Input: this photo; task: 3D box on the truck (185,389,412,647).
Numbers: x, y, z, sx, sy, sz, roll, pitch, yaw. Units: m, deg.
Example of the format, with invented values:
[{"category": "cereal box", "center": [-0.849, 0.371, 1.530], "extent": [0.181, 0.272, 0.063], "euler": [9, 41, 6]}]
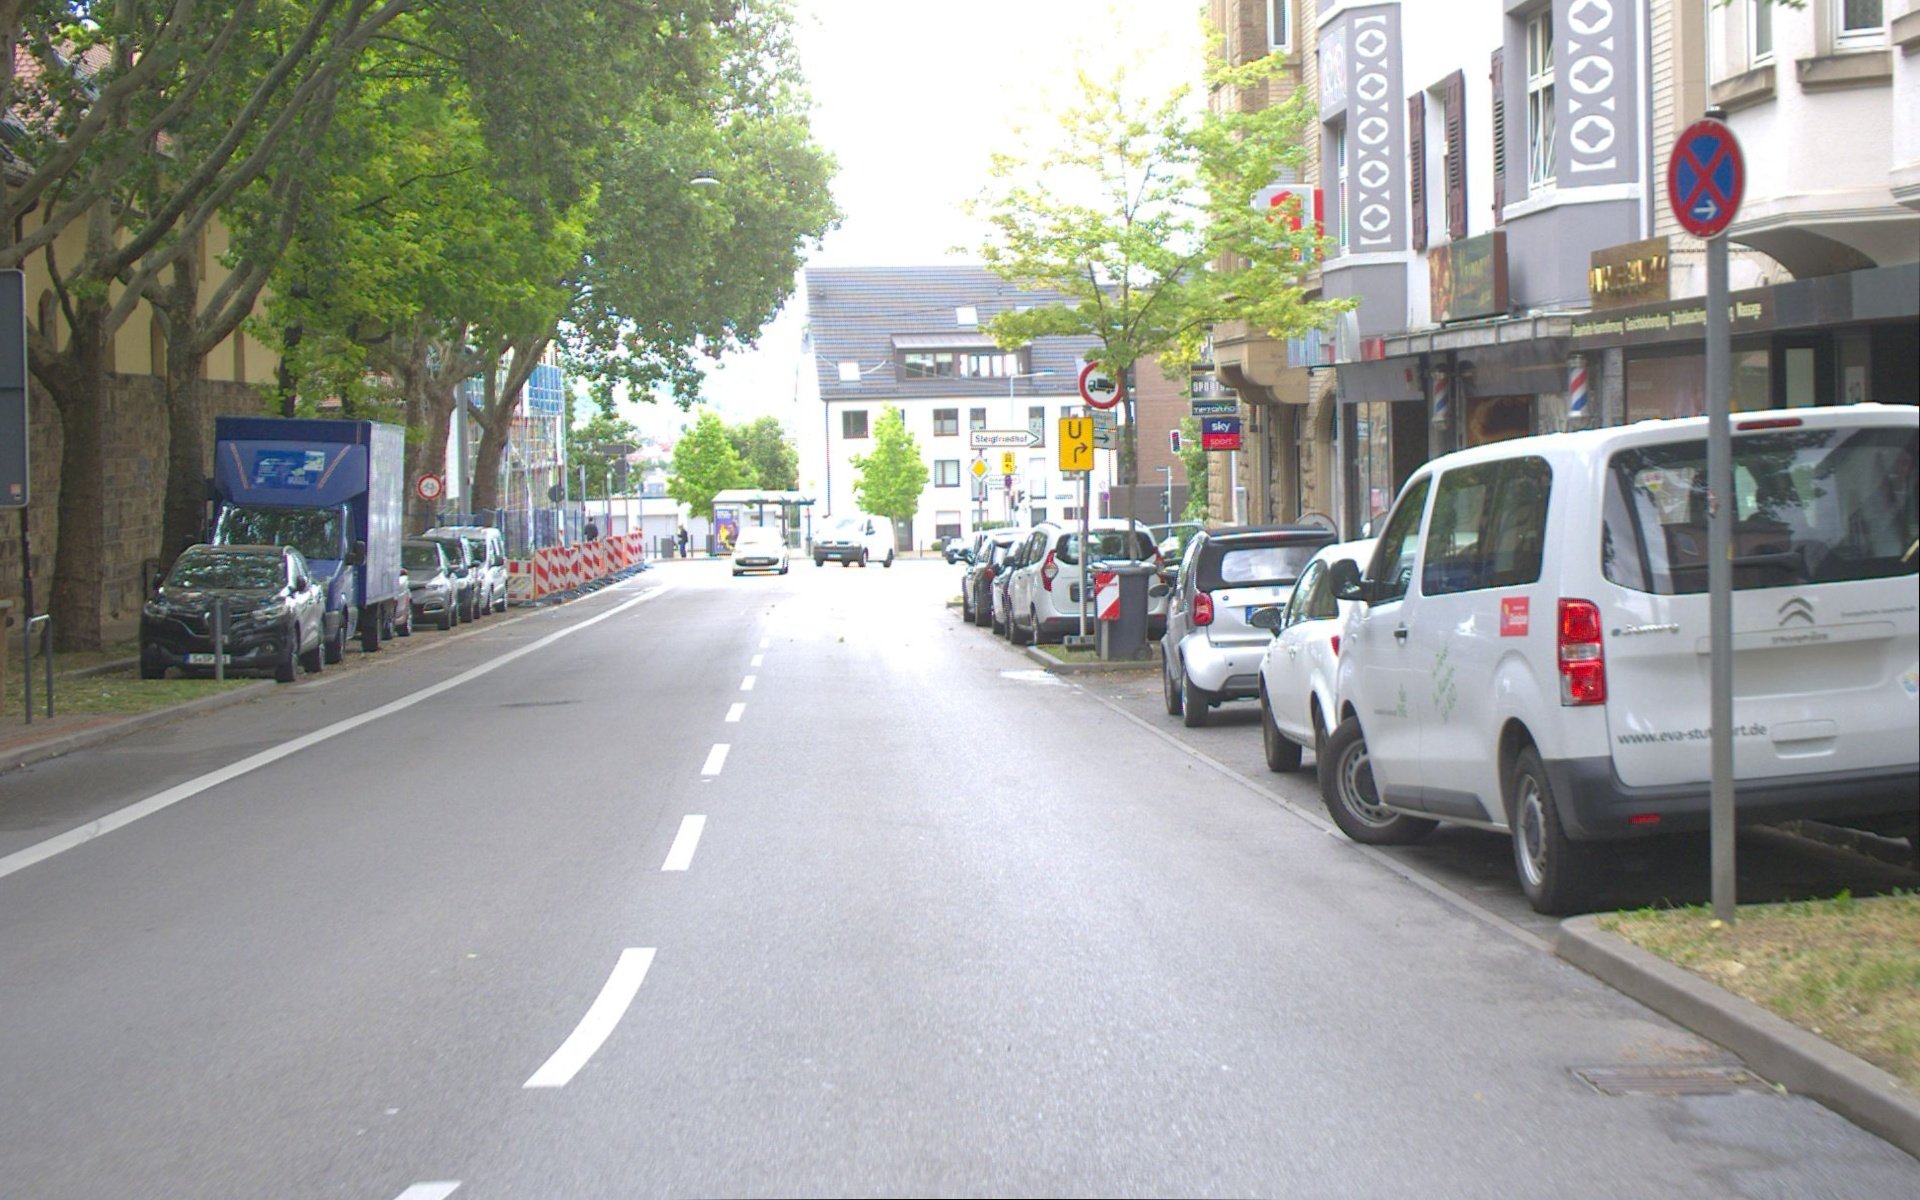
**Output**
[{"category": "truck", "center": [-9.375, -1.162, 49.325], "extent": [2.215, 3.404, 7.248], "euler": [1, 1, -3]}]

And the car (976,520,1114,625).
[{"category": "car", "center": [1.197, -0.430, 50.181], "extent": [1.605, 1.392, 4.277], "euler": [-3, 1, -3]}]

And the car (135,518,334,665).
[{"category": "car", "center": [-8.796, -0.124, 41.984], "extent": [1.731, 1.683, 4.253], "euler": [1, 1, -3]}]

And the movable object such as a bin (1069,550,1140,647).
[{"category": "movable object such as a bin", "center": [1.571, -0.020, 37.409], "extent": [0.622, 1.021, 0.697], "euler": [-1, 1, -10]}]

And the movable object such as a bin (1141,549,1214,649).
[{"category": "movable object such as a bin", "center": [2.365, -0.015, 37.458], "extent": [0.694, 1.070, 0.624], "euler": [-1, 1, -6]}]

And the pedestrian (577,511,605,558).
[{"category": "pedestrian", "center": [-13.777, -2.442, 128.372], "extent": [0.923, 1.714, 0.798], "euler": [1, 0, 1]}]

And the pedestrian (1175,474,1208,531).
[{"category": "pedestrian", "center": [7.170, -3.011, 106.381], "extent": [0.710, 1.728, 0.661], "euler": [1, 0, -35]}]

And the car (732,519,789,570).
[{"category": "car", "center": [-6.185, -1.737, 106.847], "extent": [1.583, 1.459, 3.652], "euler": [-4, 1, -2]}]

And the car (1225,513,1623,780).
[{"category": "car", "center": [2.733, 0.207, 21.096], "extent": [1.683, 1.410, 4.042], "euler": [-2, 2, -2]}]

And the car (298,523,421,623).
[{"category": "car", "center": [-9.803, -0.441, 56.249], "extent": [1.480, 1.568, 2.992], "euler": [1, 1, 0]}]

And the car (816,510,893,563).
[{"category": "car", "center": [-3.904, -2.367, 127.954], "extent": [2.205, 1.924, 5.239], "euler": [0, 1, 6]}]

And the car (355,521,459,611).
[{"category": "car", "center": [-10.006, -0.622, 62.413], "extent": [1.593, 1.568, 4.088], "euler": [1, 1, -5]}]

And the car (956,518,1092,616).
[{"category": "car", "center": [1.001, -0.562, 56.347], "extent": [1.738, 1.458, 4.776], "euler": [-3, 1, -4]}]

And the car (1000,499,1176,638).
[{"category": "car", "center": [1.633, -0.437, 45.354], "extent": [1.678, 1.657, 4.545], "euler": [-3, 1, -5]}]

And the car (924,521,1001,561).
[{"category": "car", "center": [0.127, -2.471, 143.161], "extent": [1.658, 1.459, 3.995], "euler": [-3, 1, 24]}]

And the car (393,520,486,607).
[{"category": "car", "center": [-10.176, -0.714, 67.417], "extent": [1.508, 1.626, 4.116], "euler": [1, 1, -5]}]

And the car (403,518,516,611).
[{"category": "car", "center": [-10.605, -0.783, 73.084], "extent": [1.834, 1.870, 4.417], "euler": [-2, 1, -2]}]

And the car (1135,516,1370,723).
[{"category": "car", "center": [2.351, 0.107, 28.331], "extent": [1.481, 1.529, 3.523], "euler": [-2, 2, -2]}]

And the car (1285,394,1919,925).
[{"category": "car", "center": [2.888, 0.156, 15.322], "extent": [1.906, 1.923, 4.921], "euler": [-2, 1, -5]}]
